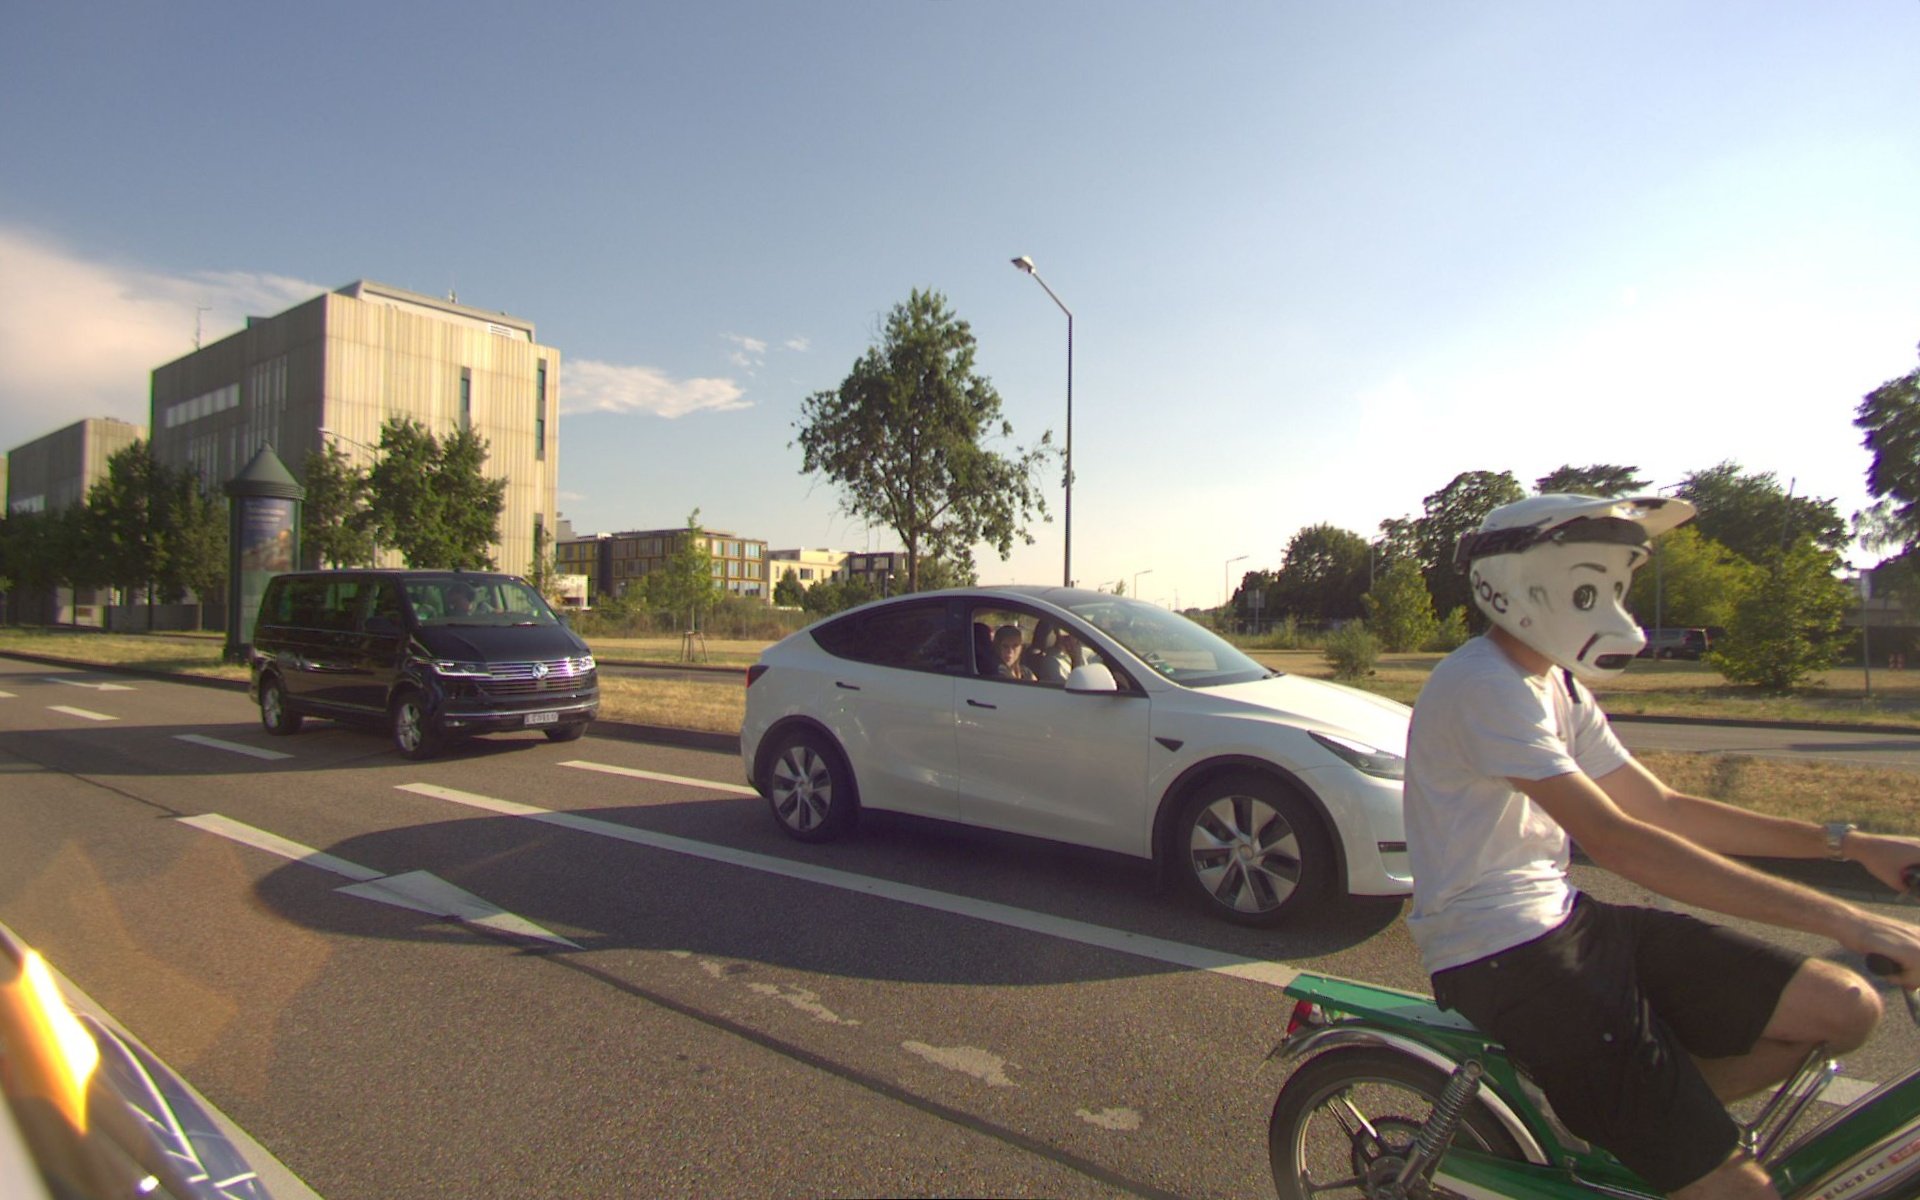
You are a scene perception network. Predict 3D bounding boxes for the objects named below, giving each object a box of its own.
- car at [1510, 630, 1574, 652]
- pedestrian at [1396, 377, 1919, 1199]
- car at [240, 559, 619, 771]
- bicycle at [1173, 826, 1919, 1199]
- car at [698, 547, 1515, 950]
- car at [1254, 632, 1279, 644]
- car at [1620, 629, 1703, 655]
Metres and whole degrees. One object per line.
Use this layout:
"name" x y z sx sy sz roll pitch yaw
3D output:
"car" 41.569 2.902 72.449 1.631 1.537 4.407 0 -2 -6
"pedestrian" 1.292 0.484 1.712 0.854 1.530 0.649 -1 -3 41
"car" -6.204 0.620 11.569 5.003 1.947 1.839 -1 -1 36
"bicycle" 1.289 0.967 1.655 1.855 0.882 0.472 -1 -3 41
"car" 0.601 0.632 6.153 4.669 1.611 1.719 -1 -1 37
"car" 32.068 3.970 106.020 1.315 1.302 2.810 1 -2 -10
"car" 43.094 2.568 62.281 1.631 1.537 4.407 0 -2 -6
